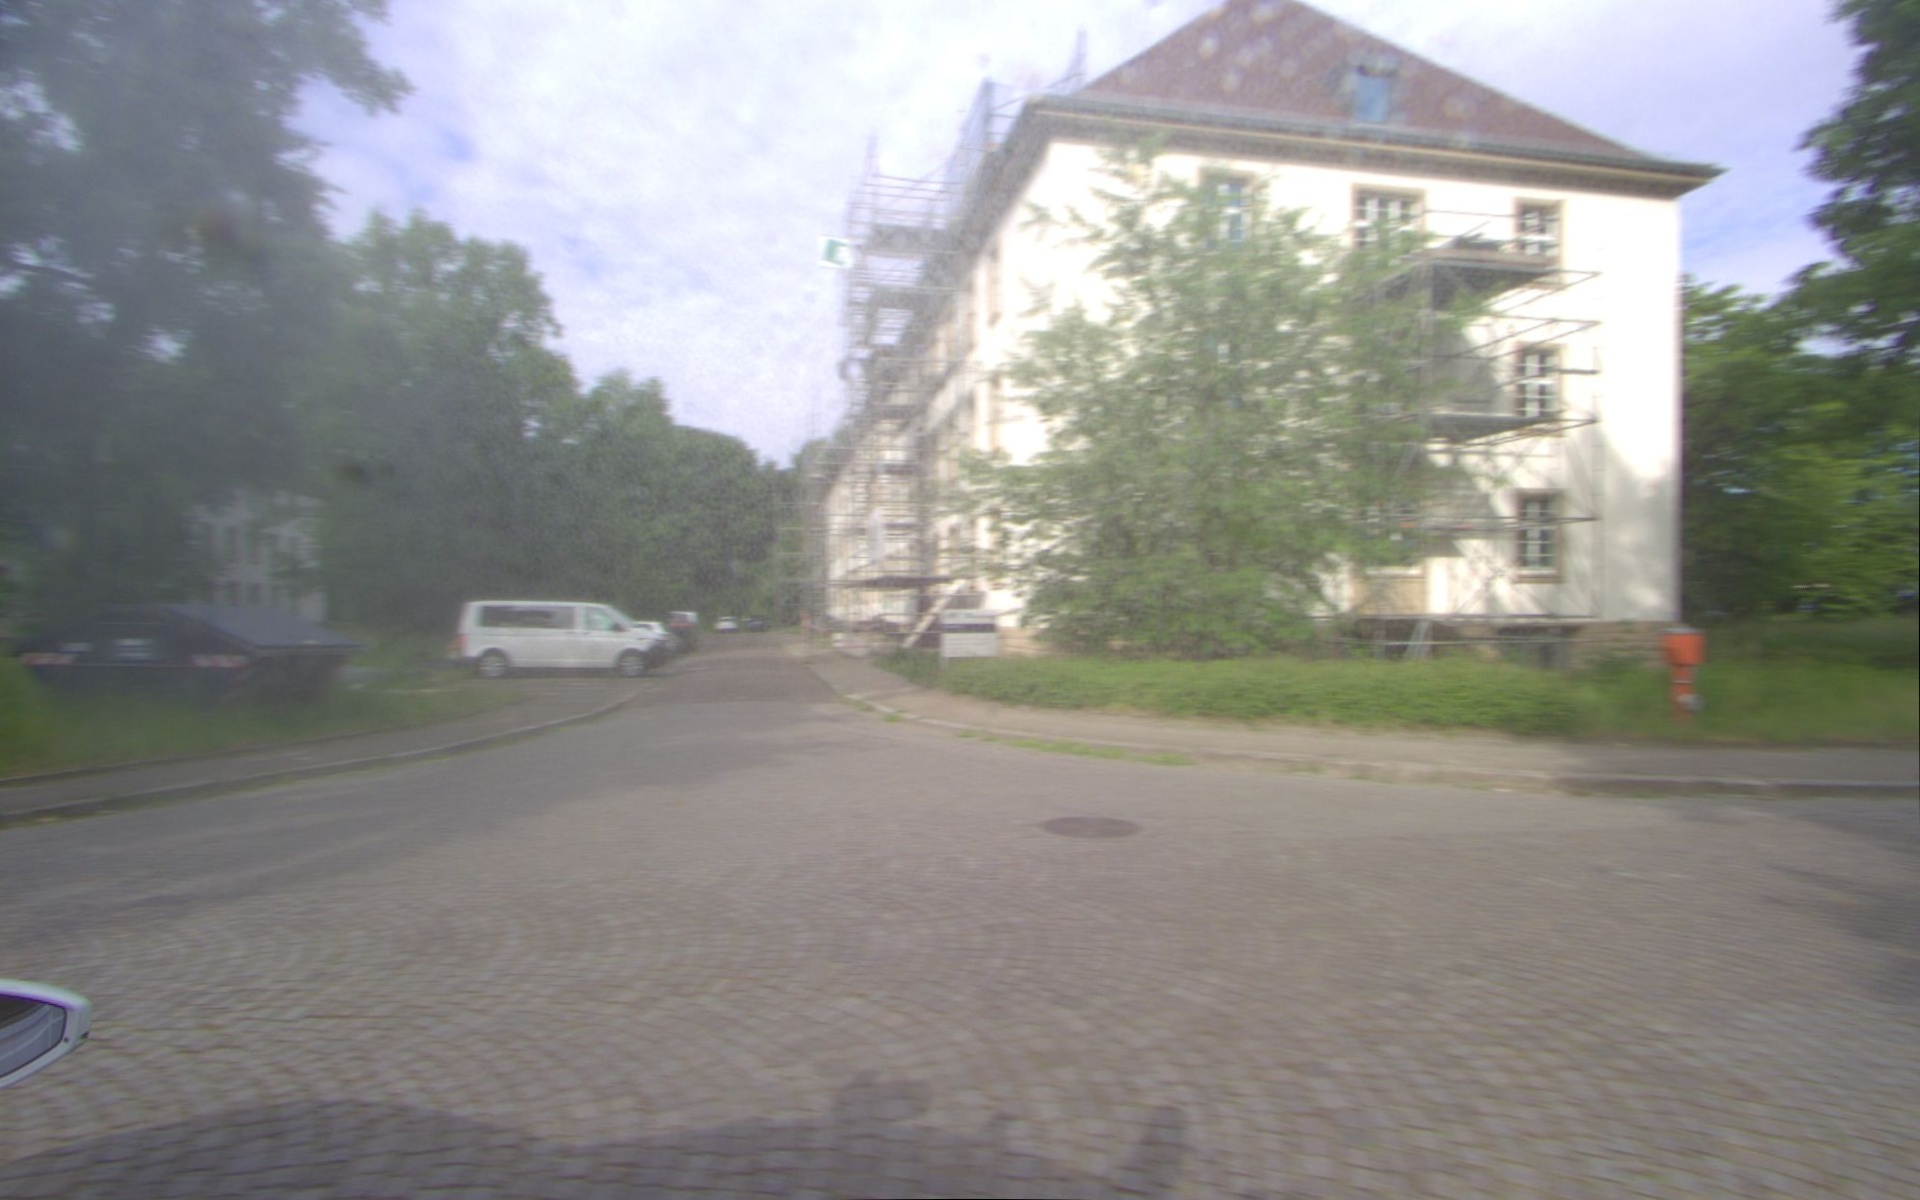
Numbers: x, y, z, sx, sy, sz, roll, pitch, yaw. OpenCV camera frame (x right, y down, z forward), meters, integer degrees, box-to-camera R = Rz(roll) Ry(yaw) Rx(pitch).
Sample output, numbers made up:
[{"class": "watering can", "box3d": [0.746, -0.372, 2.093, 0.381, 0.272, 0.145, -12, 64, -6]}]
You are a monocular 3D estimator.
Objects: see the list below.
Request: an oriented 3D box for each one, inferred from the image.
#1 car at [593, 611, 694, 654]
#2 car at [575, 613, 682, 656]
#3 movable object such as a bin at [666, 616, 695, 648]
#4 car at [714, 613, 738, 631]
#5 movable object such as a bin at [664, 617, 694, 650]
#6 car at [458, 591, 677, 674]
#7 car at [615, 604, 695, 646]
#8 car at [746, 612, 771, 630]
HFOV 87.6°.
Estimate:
[{"class": "car", "box3d": [-12.983, 1.349, 41.255, 3.622, 1.612, 1.765, 2, -2, -5]}, {"class": "car", "box3d": [-12.859, 1.345, 39.040, 3.570, 1.499, 1.821, 2, -2, -4]}, {"class": "movable object such as a bin", "box3d": [-12.898, 1.483, 46.306, 1.165, 1.425, 0.975, 2, -1, -11]}, {"class": "car", "box3d": [-21.422, 2.004, 91.492, 1.972, 1.567, 3.954, 2, -2, -14]}, {"class": "movable object such as a bin", "box3d": [-12.666, 1.515, 45.104, 1.165, 1.425, 0.975, 2, -1, -11]}, {"class": "car", "box3d": [-10.268, 0.881, 26.676, 5.122, 2.087, 2.186, 1, -1, -13]}, {"class": "car", "box3d": [-16.219, 1.351, 53.456, 3.929, 2.039, 1.919, 3, -2, -16]}, {"class": "car", "box3d": [-18.583, 1.950, 92.631, 2.031, 1.613, 3.999, 2, -2, -9]}]
